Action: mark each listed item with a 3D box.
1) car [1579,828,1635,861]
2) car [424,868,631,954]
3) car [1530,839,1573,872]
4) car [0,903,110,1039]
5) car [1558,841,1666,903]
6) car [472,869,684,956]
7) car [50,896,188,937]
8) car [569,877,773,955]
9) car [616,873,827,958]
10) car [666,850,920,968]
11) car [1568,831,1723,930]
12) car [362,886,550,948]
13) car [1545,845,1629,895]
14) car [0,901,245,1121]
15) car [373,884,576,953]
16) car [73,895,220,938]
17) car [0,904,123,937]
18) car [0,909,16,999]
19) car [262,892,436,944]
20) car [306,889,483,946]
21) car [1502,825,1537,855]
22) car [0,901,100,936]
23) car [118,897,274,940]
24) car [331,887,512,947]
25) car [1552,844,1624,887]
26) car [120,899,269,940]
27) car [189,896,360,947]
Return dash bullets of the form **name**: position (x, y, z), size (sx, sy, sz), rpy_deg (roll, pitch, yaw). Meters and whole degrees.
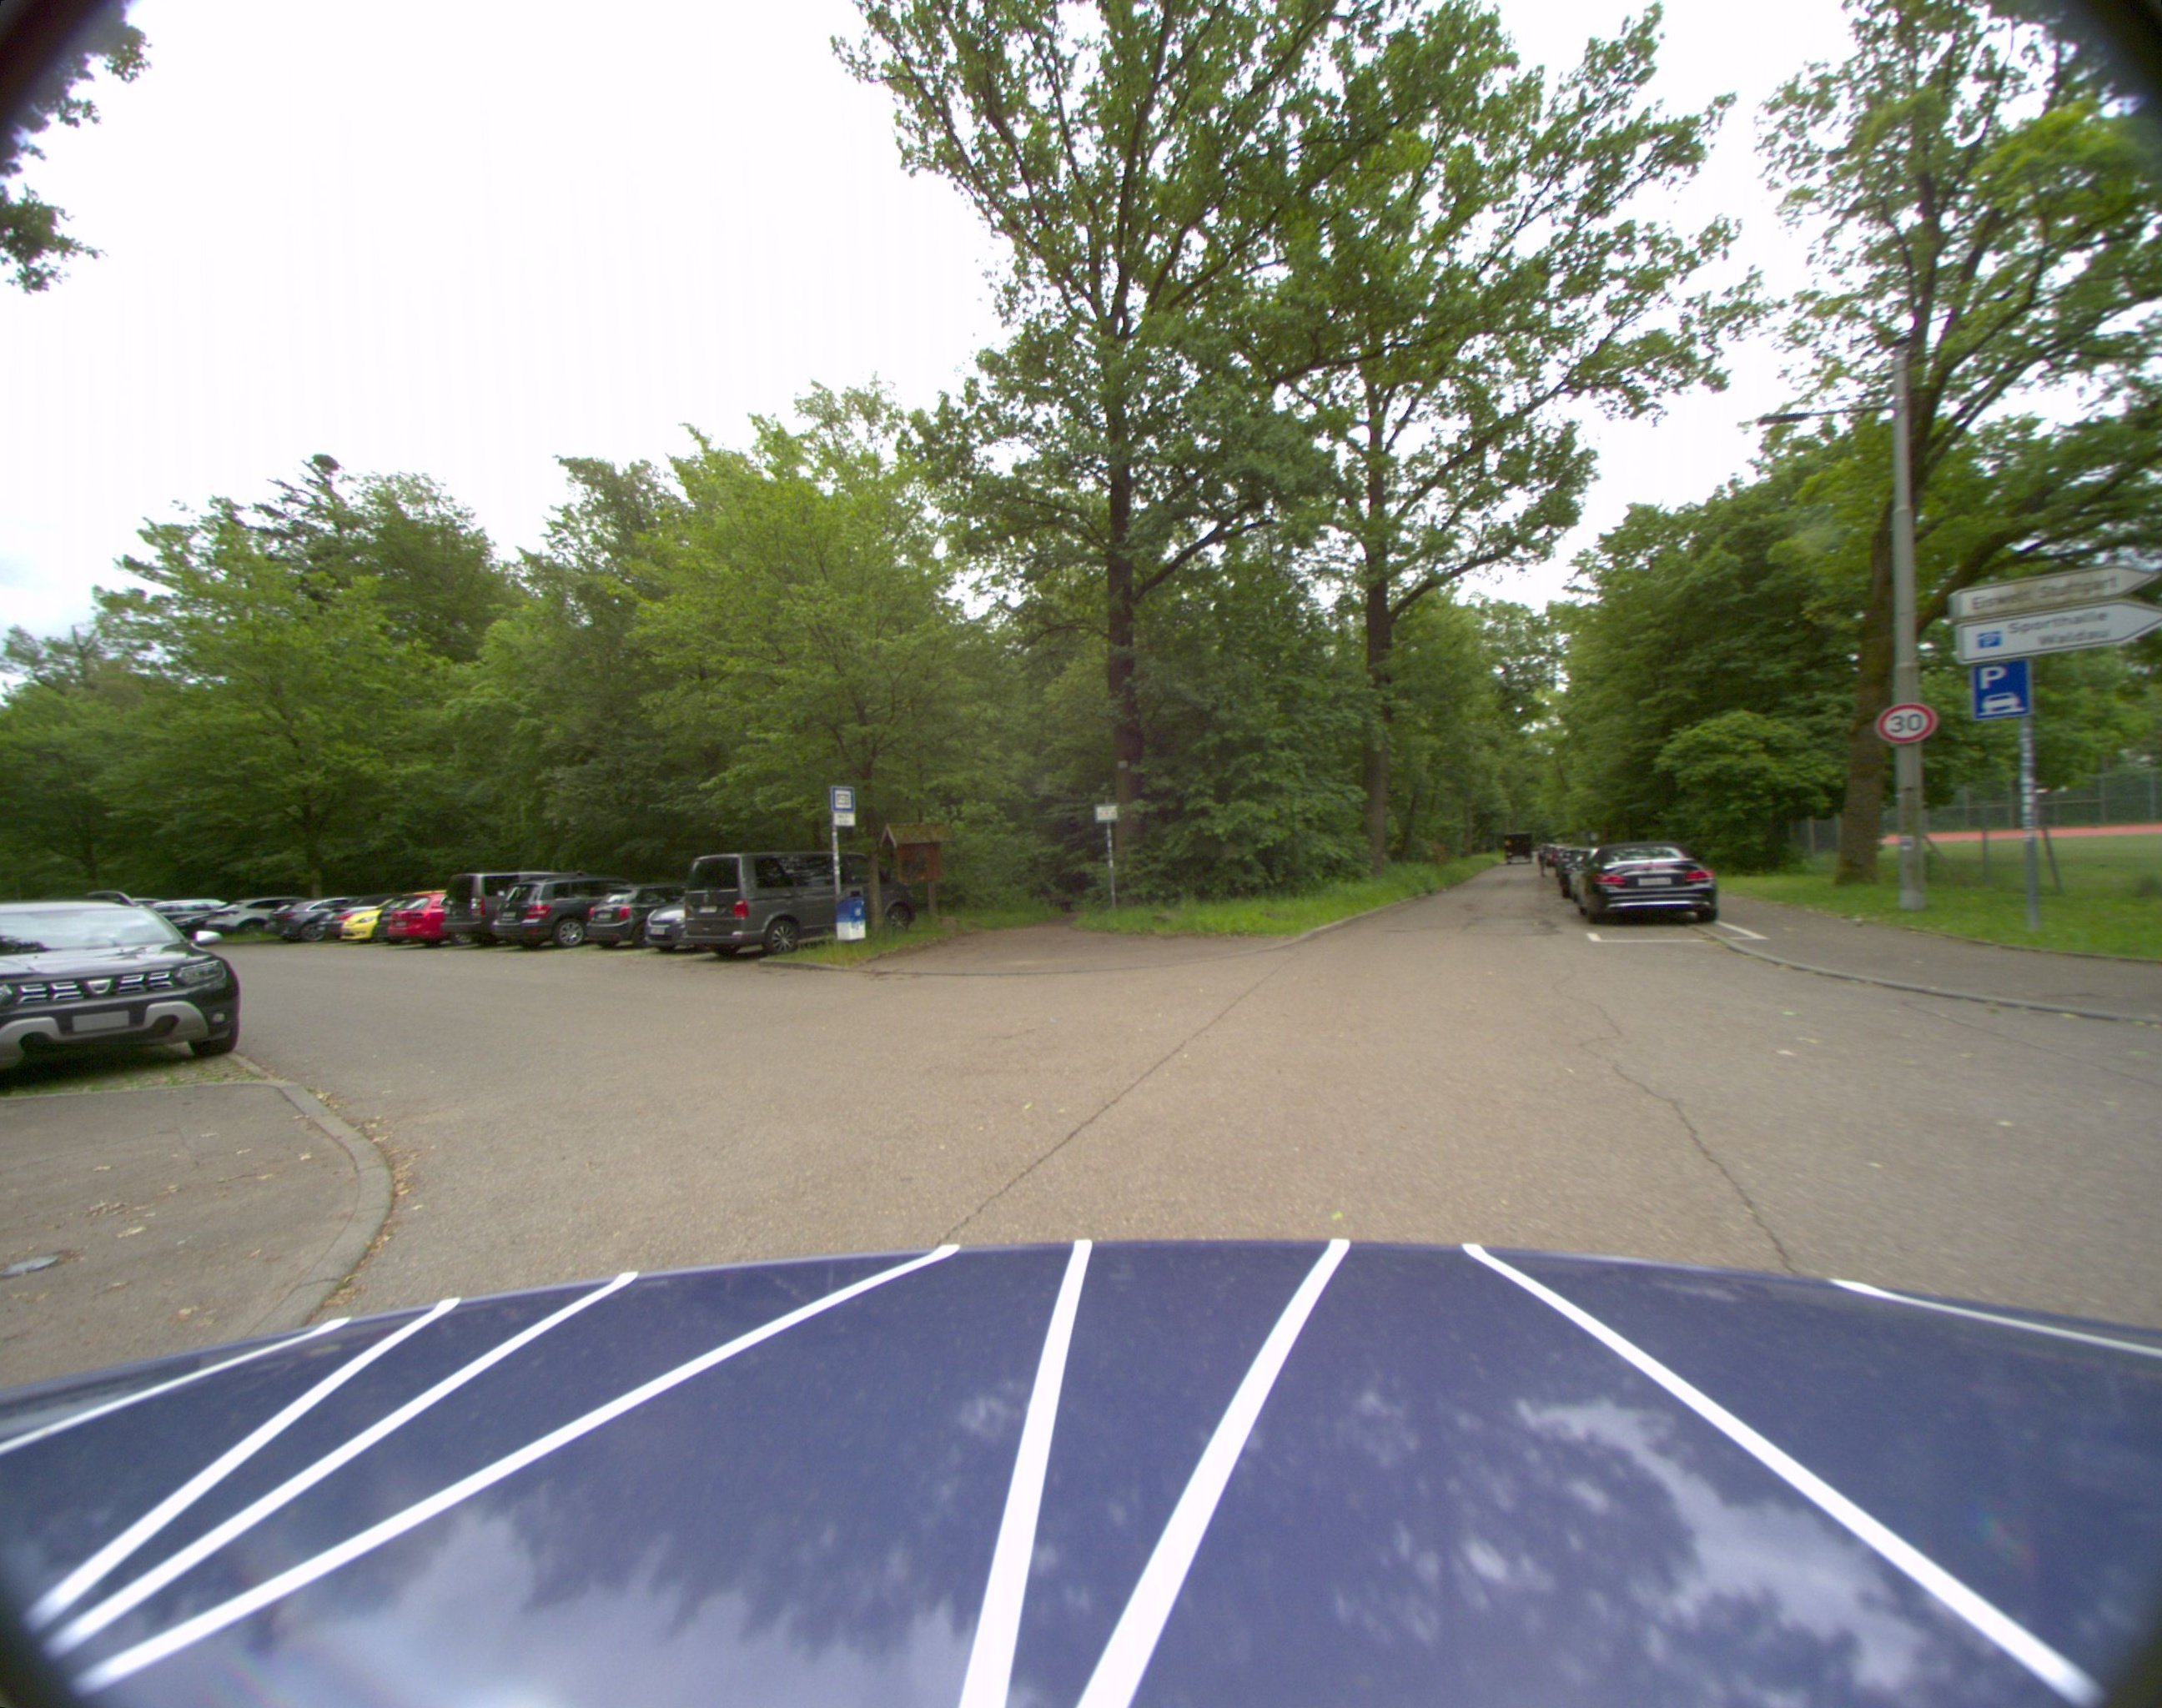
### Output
- **car**: position (27.845, -0.535, 40.320), size (1.954, 1.609, 3.645), rpy_deg (-2, 1, 28)
- **car**: position (-14.722, 1.448, 20.475), size (1.809, 1.852, 4.006), rpy_deg (-3, 1, 28)
- **car**: position (25.048, 0.075, 40.509), size (1.617, 1.583, 3.525), rpy_deg (-4, -1, 28)
- **car**: position (-15.403, 1.584, 10.537), size (4.364, 1.624, 1.745), rpy_deg (-3, 1, 30)
- **car**: position (13.594, 0.444, 19.672), size (1.687, 1.350, 4.228), rpy_deg (-4, -2, 28)
- **car**: position (-12.593, 1.397, 19.302), size (1.819, 1.755, 4.006), rpy_deg (-3, 1, 27)
- **car**: position (-48.020, 3.105, 38.026), size (1.810, 1.652, 4.007), rpy_deg (-3, 0, 29)
- **car**: position (-9.847, 1.437, 18.564), size (1.716, 1.422, 4.006), rpy_deg (-3, 1, 29)
- **car**: position (-7.884, 1.295, 17.008), size (1.805, 1.503, 3.834), rpy_deg (-3, -1, 31)
- **car**: position (-5.618, 0.982, 15.452), size (1.886, 1.966, 4.525), rpy_deg (-3, 0, 31)
- **car**: position (10.135, 0.449, 13.963), size (1.768, 1.485, 4.335), rpy_deg (-4, -2, 31)
- **car**: position (-18.929, 1.862, 23.227), size (1.667, 1.430, 4.006), rpy_deg (-3, 1, 26)
- **car**: position (15.537, 0.479, 23.508), size (1.687, 1.350, 3.876), rpy_deg (-4, -2, 28)
- **car**: position (-10.058, 1.358, 7.332), size (3.988, 1.624, 1.818), rpy_deg (-3, 1, 30)
- **car**: position (-16.919, 1.757, 21.428), size (1.775, 1.467, 4.006), rpy_deg (-3, 1, 27)
- **car**: position (-43.806, 2.911, 35.714), size (1.810, 1.652, 4.007), rpy_deg (-3, 0, 27)
- **car**: position (-58.831, 3.833, 43.918), size (1.766, 1.507, 4.007), rpy_deg (-3, 0, 29)
- **car**: position (-20.375, 1.794, 13.044), size (4.223, 1.486, 1.745), rpy_deg (-3, 1, 27)
- **car**: position (-25.512, 2.199, 26.636), size (1.710, 1.430, 4.007), rpy_deg (-3, 0, 29)
- **car**: position (-22.976, 2.087, 25.608), size (1.729, 1.430, 4.006), rpy_deg (-3, 1, 29)
- **car**: position (40.237, -1.322, 69.845), size (2.575, 2.519, 4.944), rpy_deg (-4, 0, 29)
- **car**: position (-63.260, 3.900, 46.284), size (1.813, 1.804, 4.007), rpy_deg (-3, 0, 28)
- **car**: position (-37.250, 2.661, 32.085), size (1.673, 1.427, 4.007), rpy_deg (-3, 0, 30)
- **car**: position (-21.004, 1.962, 24.393), size (1.614, 1.430, 4.006), rpy_deg (-3, 1, 29)
- **car**: position (17.952, 0.404, 27.046), size (1.687, 1.350, 3.638), rpy_deg (-4, -2, 28)
- **car**: position (-39.070, 2.852, 33.614), size (1.644, 1.427, 4.007), rpy_deg (-3, 0, 30)
- **car**: position (-30.088, 2.476, 28.499), size (1.710, 1.459, 4.006), rpy_deg (-3, 1, 28)
